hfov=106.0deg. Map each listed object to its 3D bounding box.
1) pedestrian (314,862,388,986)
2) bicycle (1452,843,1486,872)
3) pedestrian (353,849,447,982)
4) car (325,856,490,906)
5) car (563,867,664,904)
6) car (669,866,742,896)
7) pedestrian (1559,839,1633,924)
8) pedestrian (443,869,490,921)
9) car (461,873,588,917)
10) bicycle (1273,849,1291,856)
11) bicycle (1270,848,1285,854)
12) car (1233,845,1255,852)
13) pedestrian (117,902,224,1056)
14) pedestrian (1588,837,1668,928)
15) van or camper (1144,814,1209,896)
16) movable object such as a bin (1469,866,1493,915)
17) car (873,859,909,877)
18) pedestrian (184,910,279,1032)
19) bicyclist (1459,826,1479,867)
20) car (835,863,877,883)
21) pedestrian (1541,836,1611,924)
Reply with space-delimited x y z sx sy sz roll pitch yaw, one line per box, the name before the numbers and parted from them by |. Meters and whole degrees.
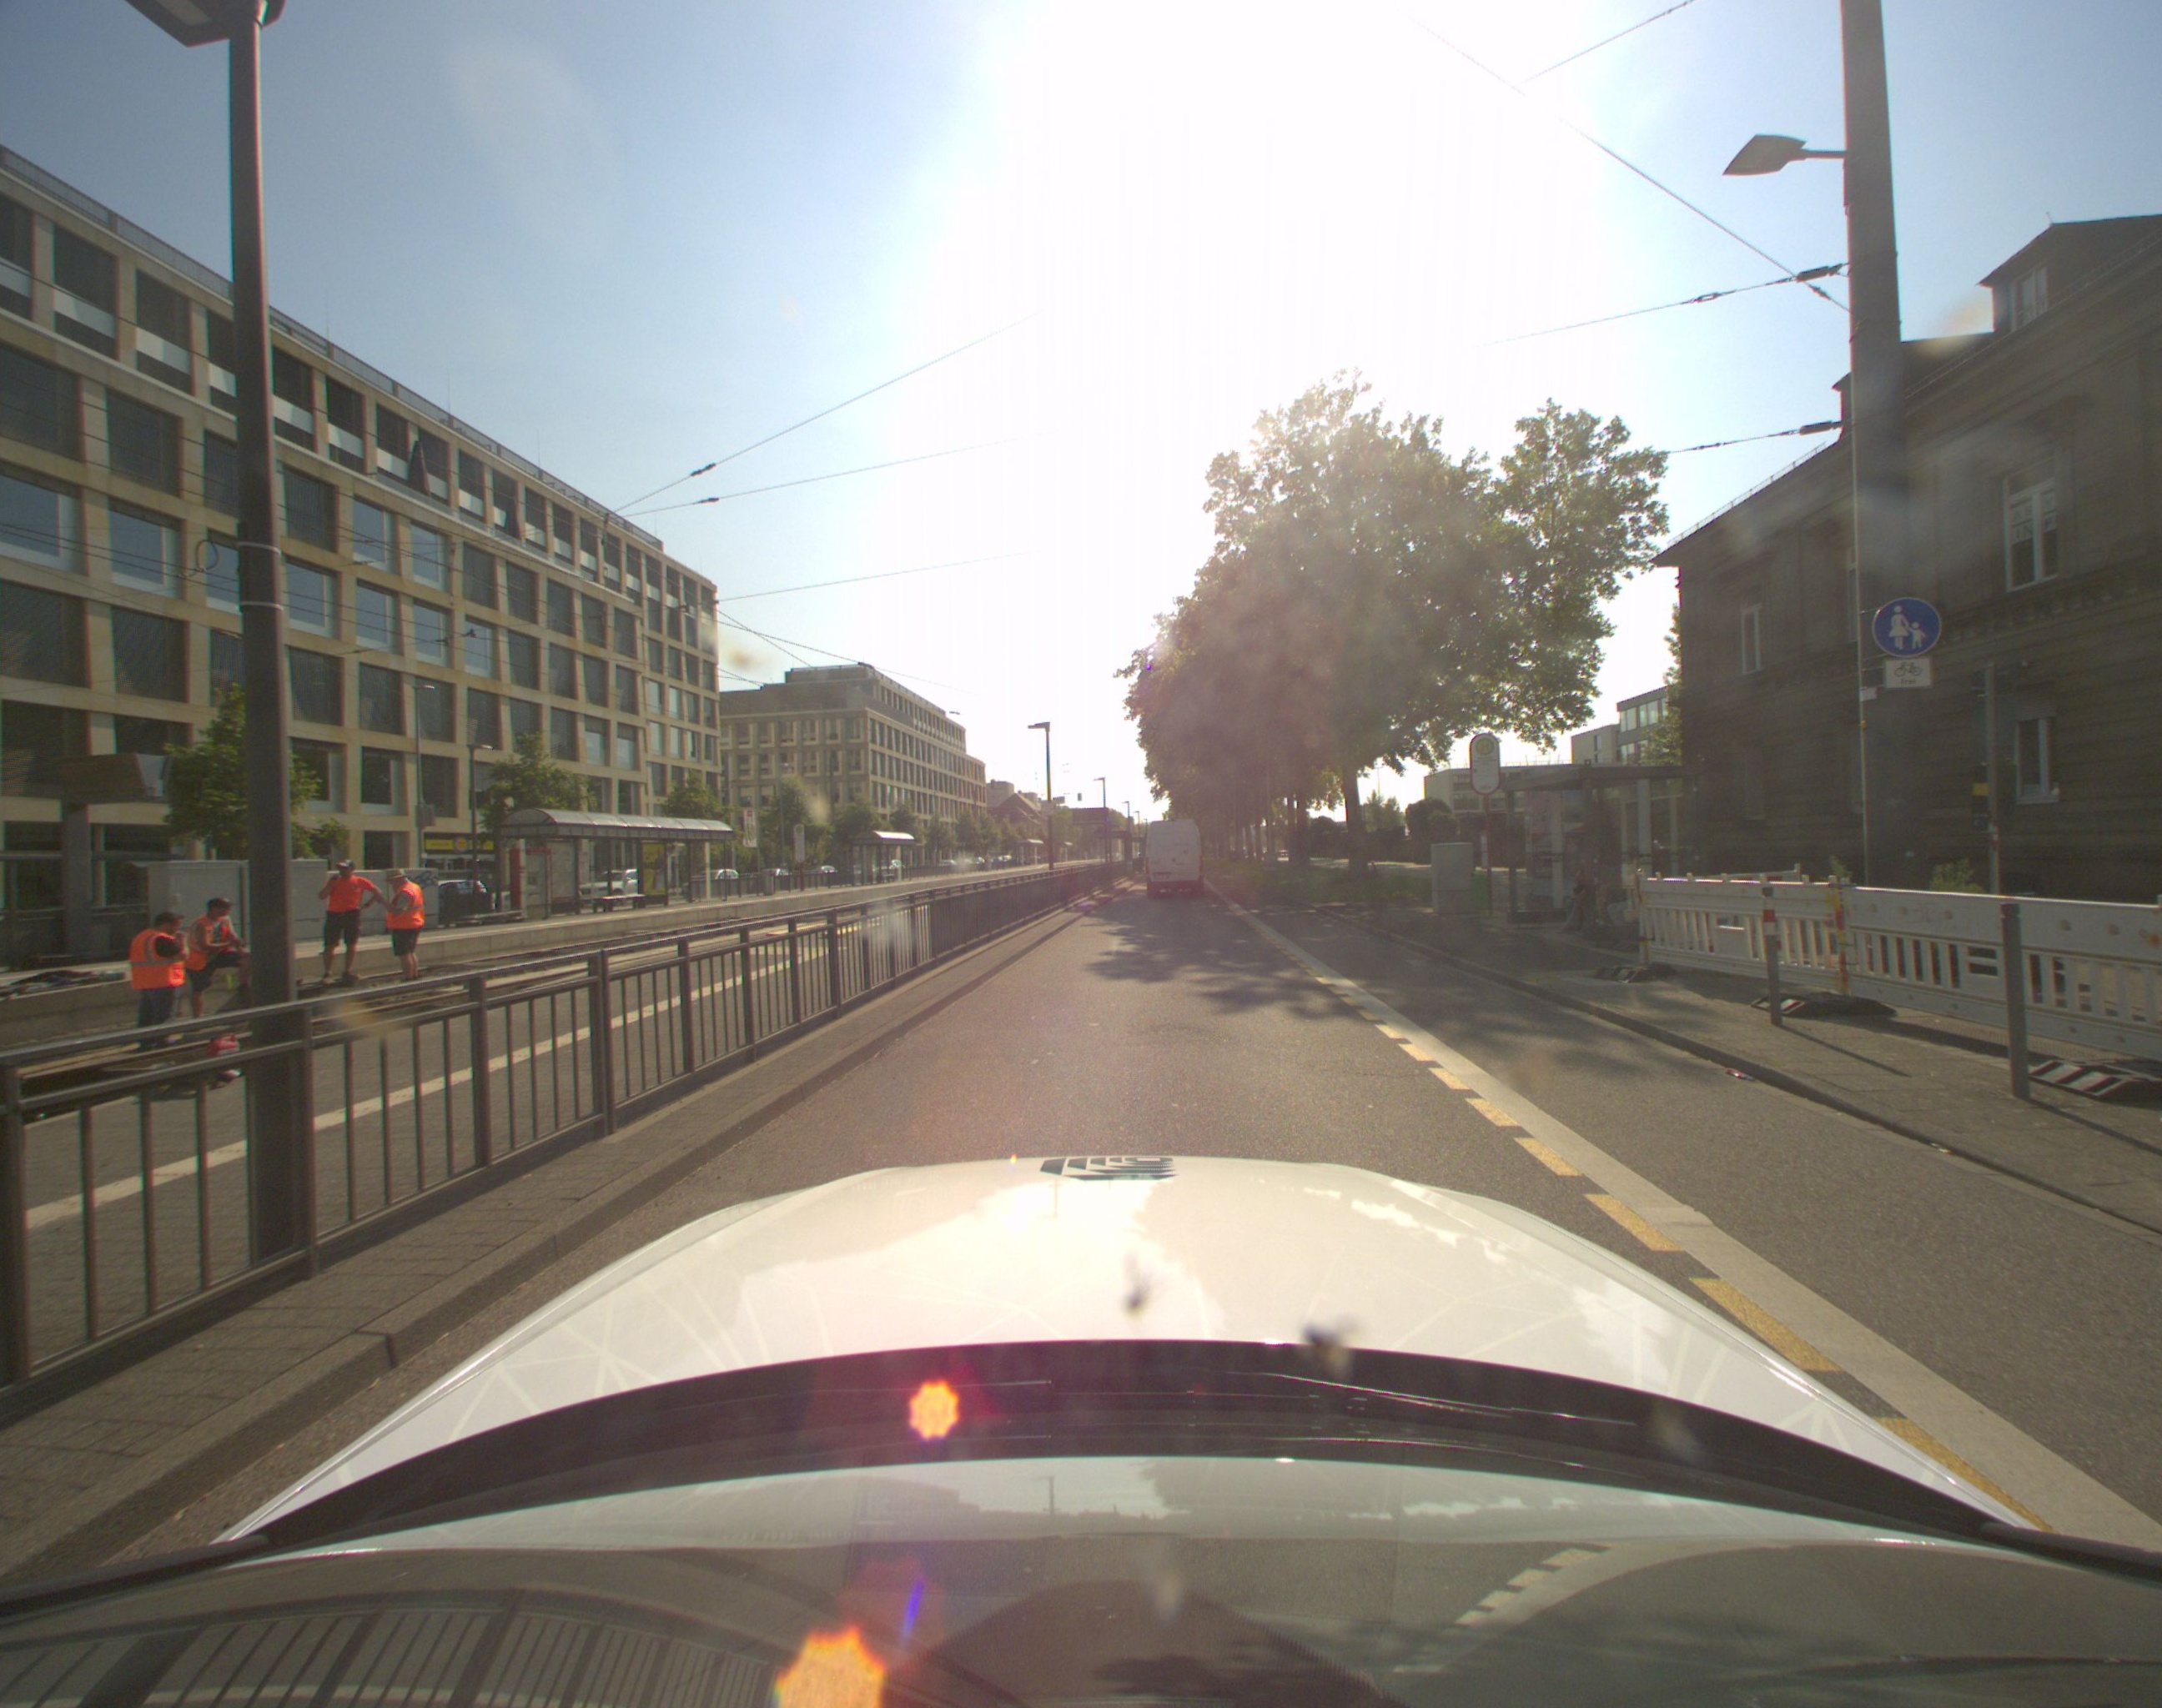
pedestrian | -11.252 1.053 12.568 0.627 1.815 0.635 -3 0 -26
bicycle | 14.906 0.127 31.335 0.489 1.089 1.859 -2 0 4
pedestrian | -10.434 0.919 12.495 0.717 1.950 0.792 -2 0 21
car | -22.279 0.846 27.171 1.892 1.403 4.007 -3 0 6
car | -21.047 1.370 36.897 1.675 1.407 4.381 -3 0 6
car | -20.289 1.428 44.156 1.675 1.407 4.089 -3 0 6
pedestrian | 7.825 0.410 12.399 0.737 1.261 0.612 -1 -1 6
pedestrian | -20.603 1.357 27.324 0.832 1.676 0.882 -2 0 9
car | -21.628 1.554 31.846 1.892 1.403 4.007 -3 0 6
bicycle | 26.785 -0.179 108.520 2.168 0.847 0.504 -3 0 7
bicycle | 26.841 -0.413 111.476 1.922 0.847 0.372 -3 0 7
car | 32.285 -1.104 161.421 3.966 1.376 2.003 -1 -1 6
pedestrian | -10.817 1.441 9.683 0.660 1.663 0.777 -2 0 40
pedestrian | 7.780 0.401 11.606 0.737 1.261 0.612 -1 -1 6
van or camper | 3.355 0.015 29.637 2.106 2.682 5.256 -1 0 4
movable object such as a bin | 7.711 0.704 15.711 0.270 0.915 0.386 -2 0 4
car | -16.576 1.201 71.337 1.675 1.407 4.378 -3 0 6
pedestrian | -11.700 1.585 11.236 0.641 1.554 0.622 -3 0 -20
bicyclist | 14.887 -0.304 31.227 0.467 1.539 0.597 -2 0 4
car | -17.990 1.523 65.278 1.675 1.407 4.381 -3 0 6
pedestrian | 7.928 0.416 13.061 0.746 1.366 0.612 -1 -1 6
